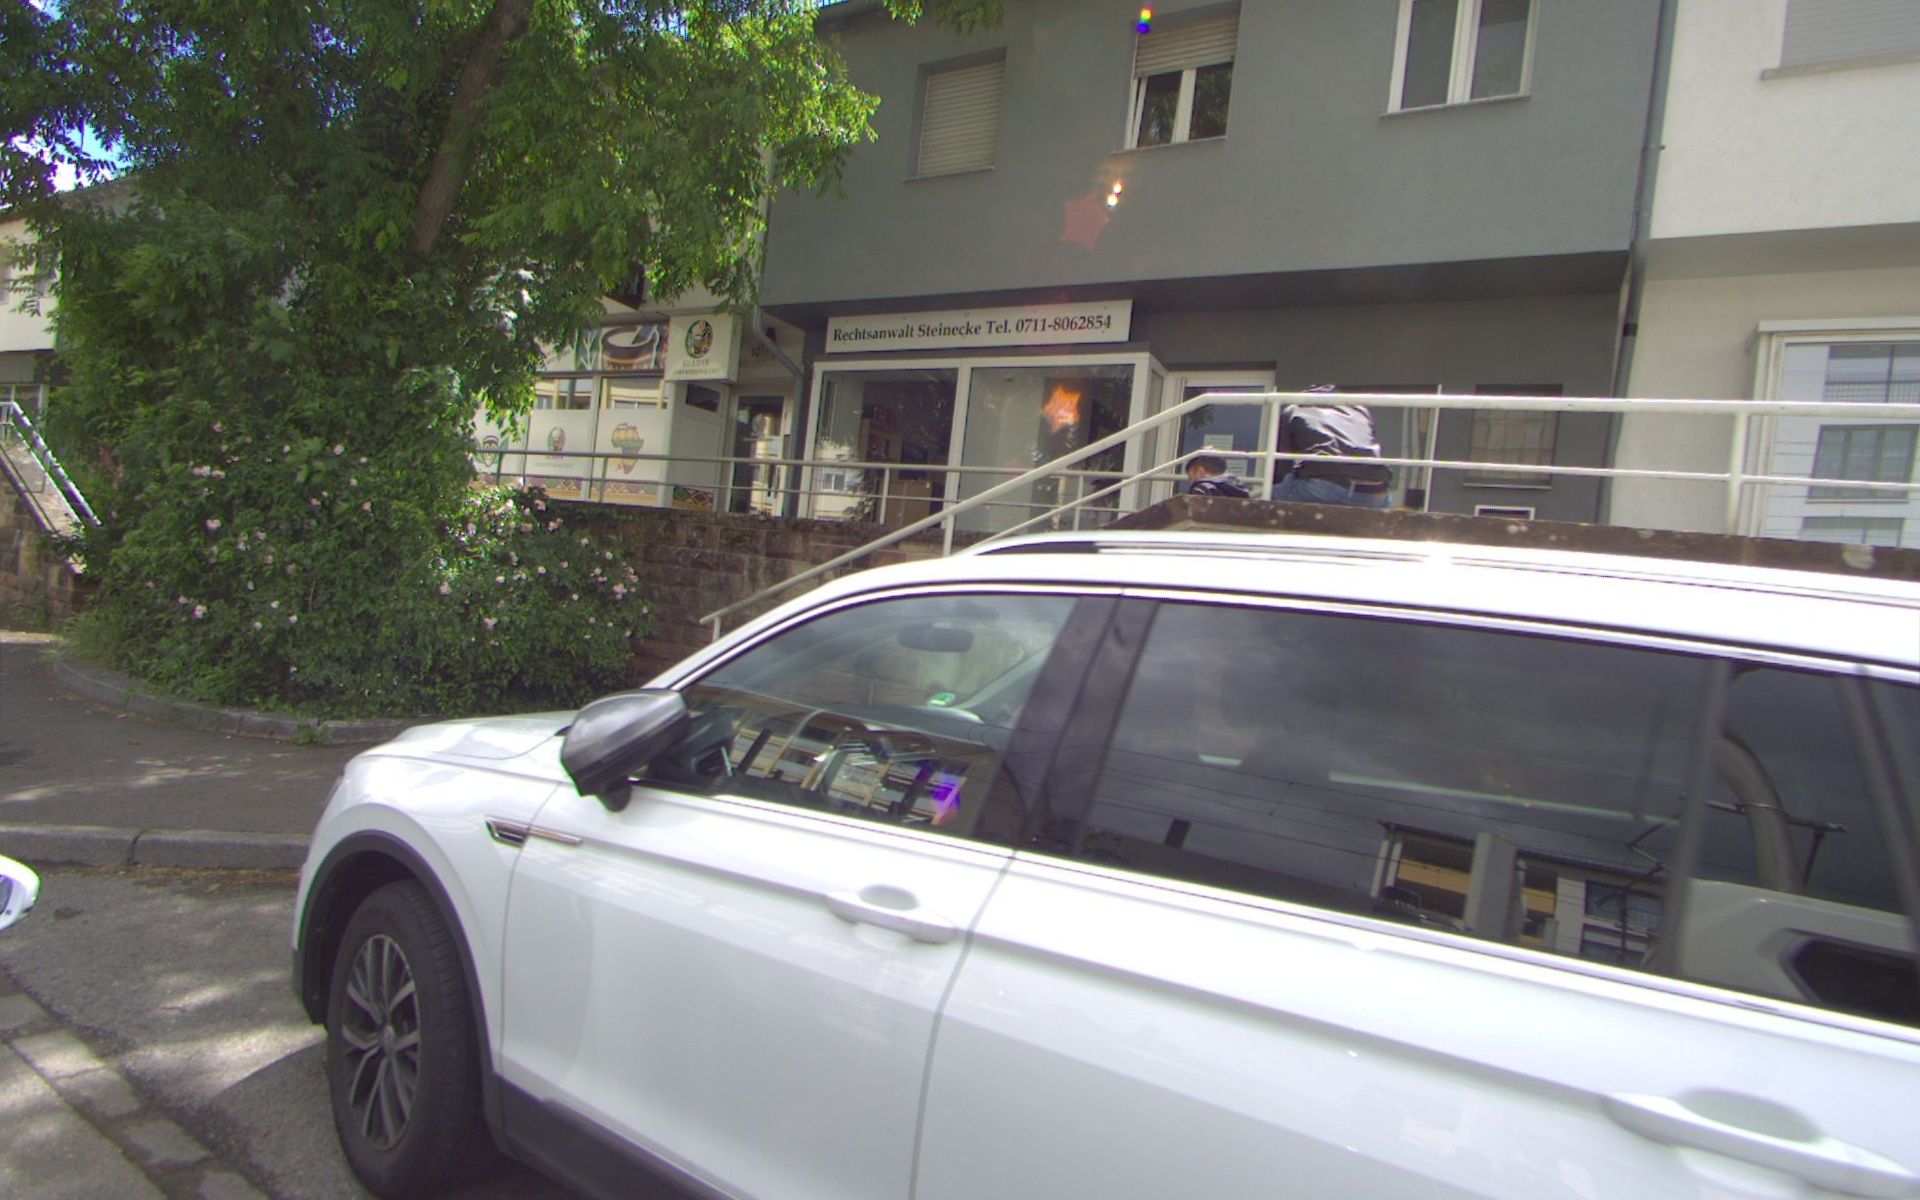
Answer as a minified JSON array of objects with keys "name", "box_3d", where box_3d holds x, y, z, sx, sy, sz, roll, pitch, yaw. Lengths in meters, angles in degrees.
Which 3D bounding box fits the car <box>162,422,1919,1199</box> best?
[{"name":"car","box_3d":[0.257,0.664,2.266,4.501,1.703,1.825,7,0,34]}]

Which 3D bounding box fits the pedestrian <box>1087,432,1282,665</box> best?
[{"name":"pedestrian","box_3d":[1.038,-0.221,4.601,0.605,0.957,0.642,7,2,30]}]

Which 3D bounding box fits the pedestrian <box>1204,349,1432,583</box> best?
[{"name":"pedestrian","box_3d":[1.536,-0.542,4.265,0.693,0.799,0.796,7,0,30]}]
